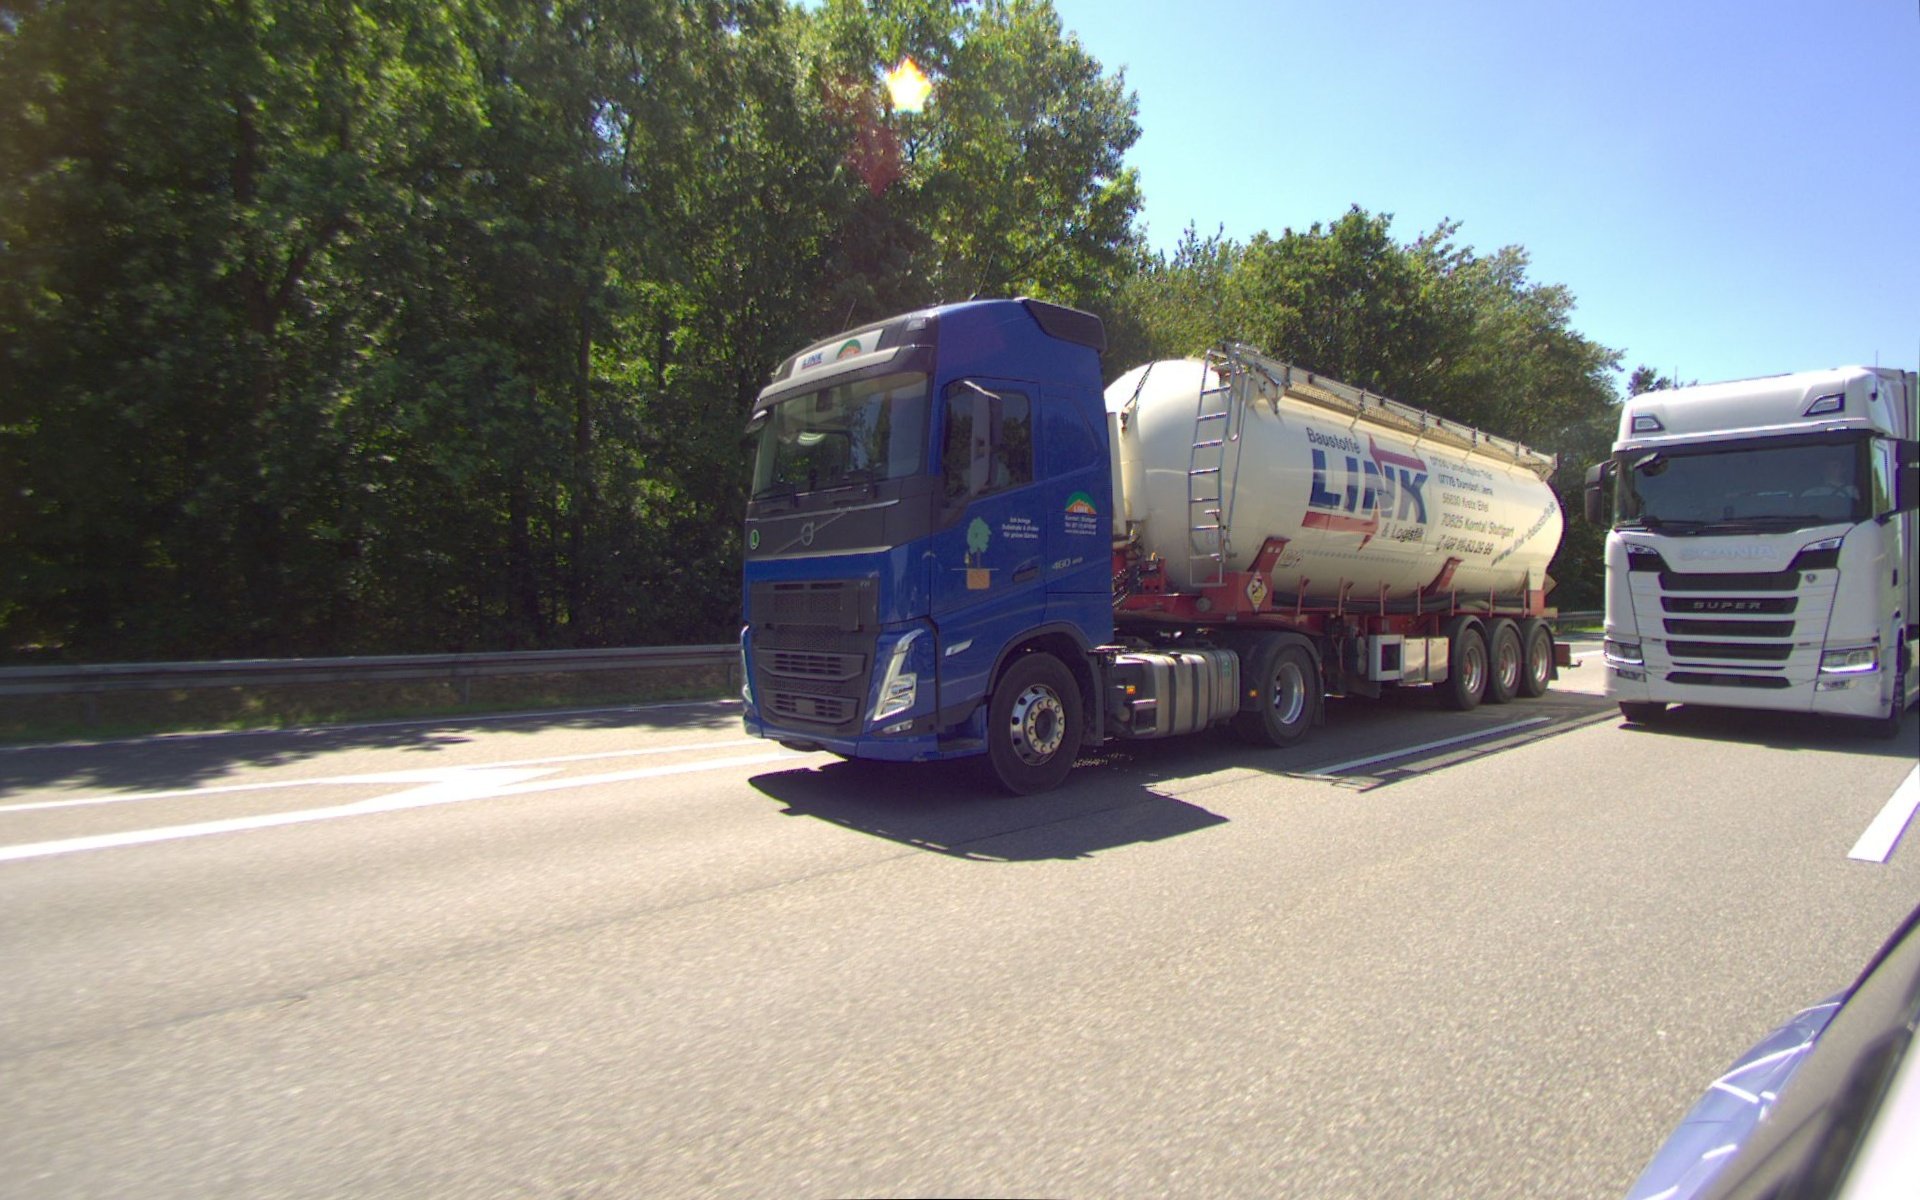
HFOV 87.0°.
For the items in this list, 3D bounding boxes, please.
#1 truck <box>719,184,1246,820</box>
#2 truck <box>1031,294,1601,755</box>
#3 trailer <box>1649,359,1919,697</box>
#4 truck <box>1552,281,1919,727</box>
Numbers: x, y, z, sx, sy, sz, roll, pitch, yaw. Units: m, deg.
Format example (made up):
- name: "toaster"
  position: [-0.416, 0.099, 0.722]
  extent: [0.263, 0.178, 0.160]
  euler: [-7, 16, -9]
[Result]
- name: "truck"
  position: [0.305, -0.660, 8.771]
  extent: [4.001, 4.089, 2.453]
  euler: [0, 0, -42]
- name: "truck"
  position: [5.411, -0.726, 13.361]
  extent: [10.360, 4.094, 2.446]
  euler: [-1, 1, -42]
- name: "trailer"
  position: [15.486, -0.932, 17.589]
  extent: [12.143, 4.195, 3.227]
  euler: [0, 1, -43]
- name: "truck"
  position: [9.684, -0.947, 12.181]
  extent: [4.483, 4.210, 3.233]
  euler: [0, 1, -43]
